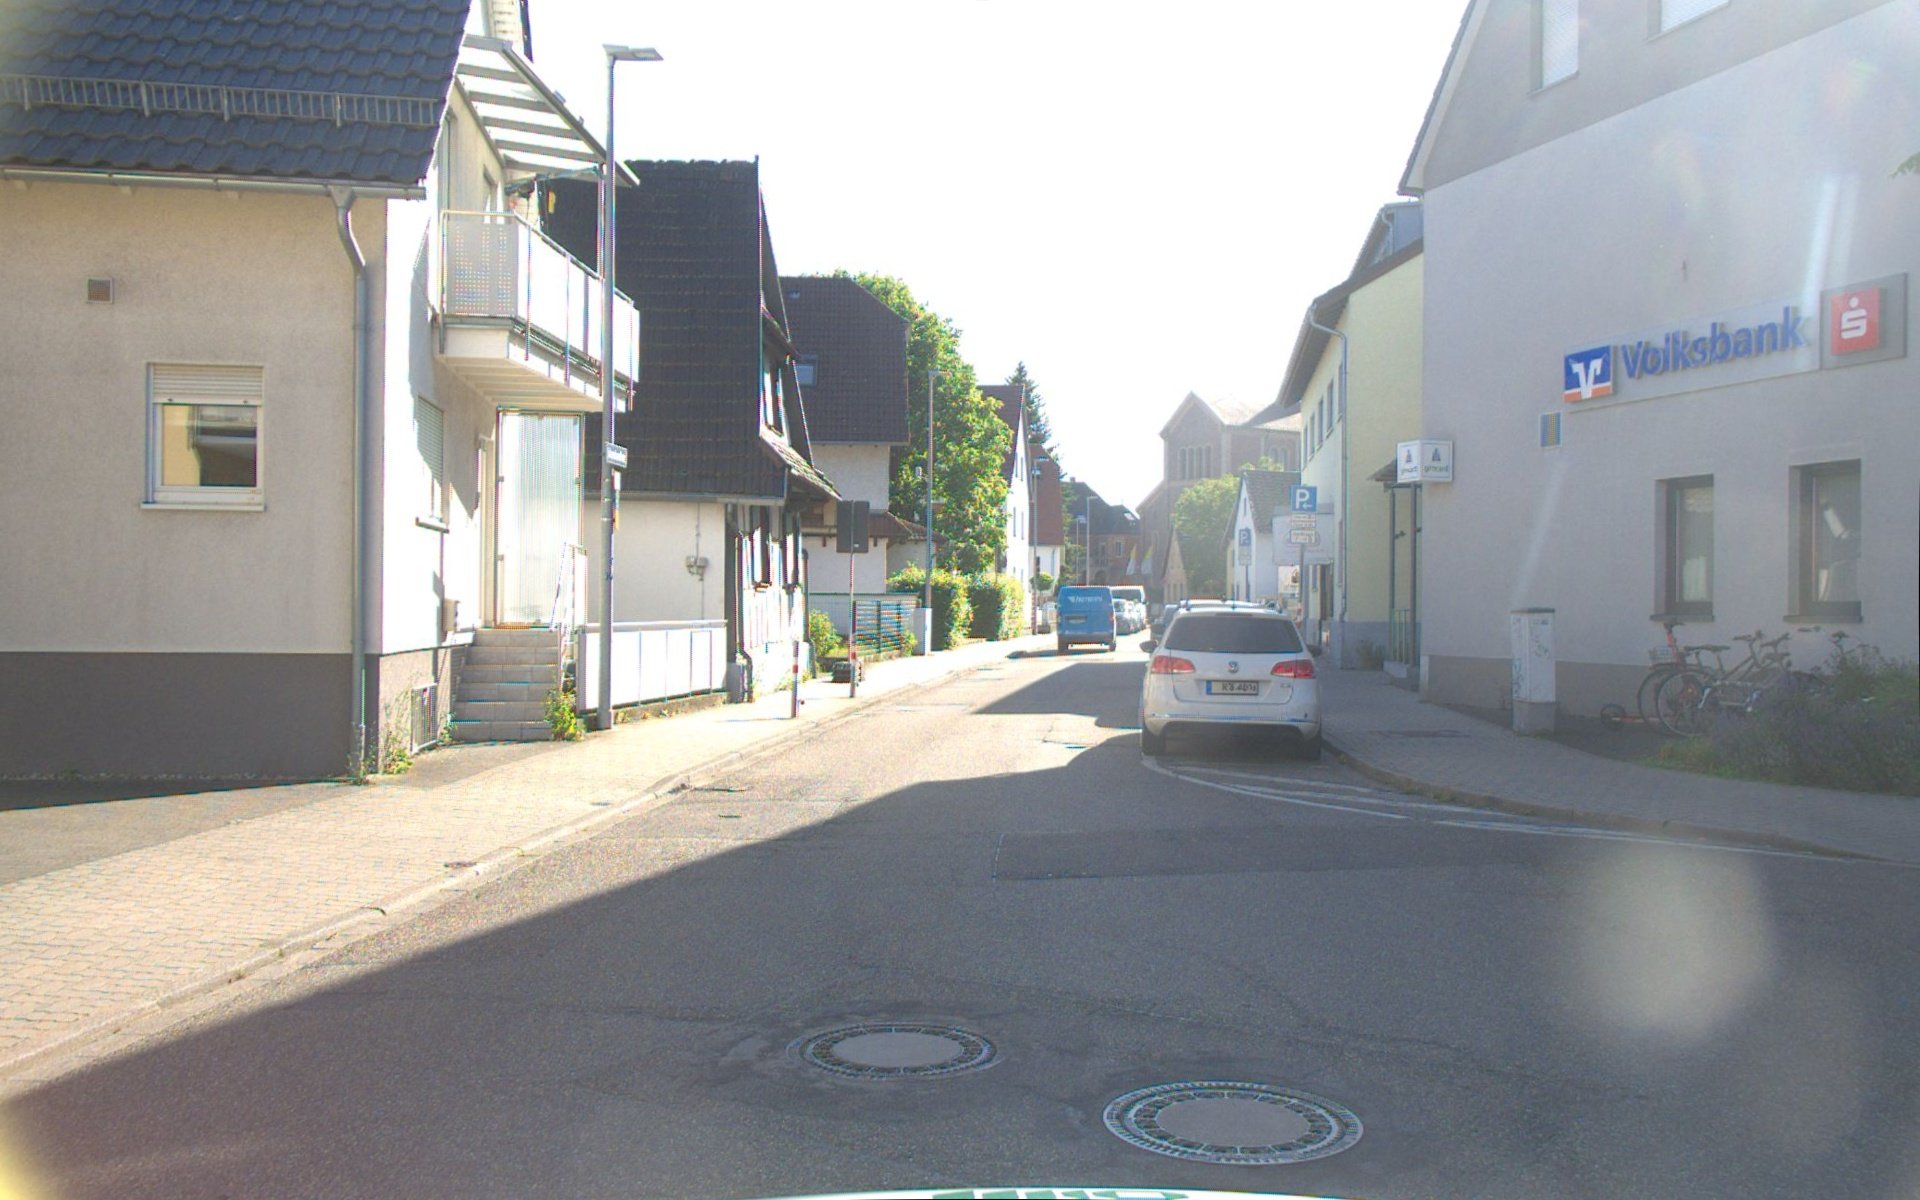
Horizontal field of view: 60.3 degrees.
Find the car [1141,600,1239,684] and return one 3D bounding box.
[{"bbox_3d":[4.567,0.782,33.065,1.770,1.501,4.448,2,0,7],"label":"car"}]

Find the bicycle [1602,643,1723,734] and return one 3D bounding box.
[{"bbox_3d":[7.447,0.934,17.555,1.138,0.936,0.313,0,0,15],"label":"bicycle"}]

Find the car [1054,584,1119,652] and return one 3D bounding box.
[{"bbox_3d":[3.916,0.537,50.736,1.862,1.951,5.073,-1,0,5],"label":"car"}]

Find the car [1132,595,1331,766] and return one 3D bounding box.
[{"bbox_3d":[2.861,0.733,17.499,1.806,1.540,4.510,0,0,9],"label":"car"}]

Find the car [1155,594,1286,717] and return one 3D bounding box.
[{"bbox_3d":[3.631,0.715,23.552,1.576,1.547,3.974,2,0,6],"label":"car"}]

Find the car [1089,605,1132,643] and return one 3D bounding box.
[{"bbox_3d":[6.895,1.087,75.547,1.678,1.626,3.928,-1,0,9],"label":"car"}]

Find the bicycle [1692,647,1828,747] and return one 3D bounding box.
[{"bbox_3d":[7.666,0.924,15.861,1.138,0.936,0.313,0,0,4],"label":"bicycle"}]

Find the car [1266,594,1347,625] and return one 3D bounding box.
[{"bbox_3d":[17.561,0.485,83.815,3.830,1.518,1.848,-1,0,18],"label":"car"}]

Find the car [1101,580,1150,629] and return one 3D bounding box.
[{"bbox_3d":[8.776,0.210,87.263,2.150,2.431,6.069,-2,0,9],"label":"car"}]

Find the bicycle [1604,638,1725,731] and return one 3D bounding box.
[{"bbox_3d":[7.698,0.914,18.100,1.197,0.992,0.320,0,0,20],"label":"bicycle"}]

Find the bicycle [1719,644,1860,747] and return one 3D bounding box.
[{"bbox_3d":[7.725,0.886,15.419,1.138,0.936,0.313,0,0,4],"label":"bicycle"}]

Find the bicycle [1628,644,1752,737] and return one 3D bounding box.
[{"bbox_3d":[7.540,0.931,17.109,1.138,0.936,0.313,0,0,15],"label":"bicycle"}]
